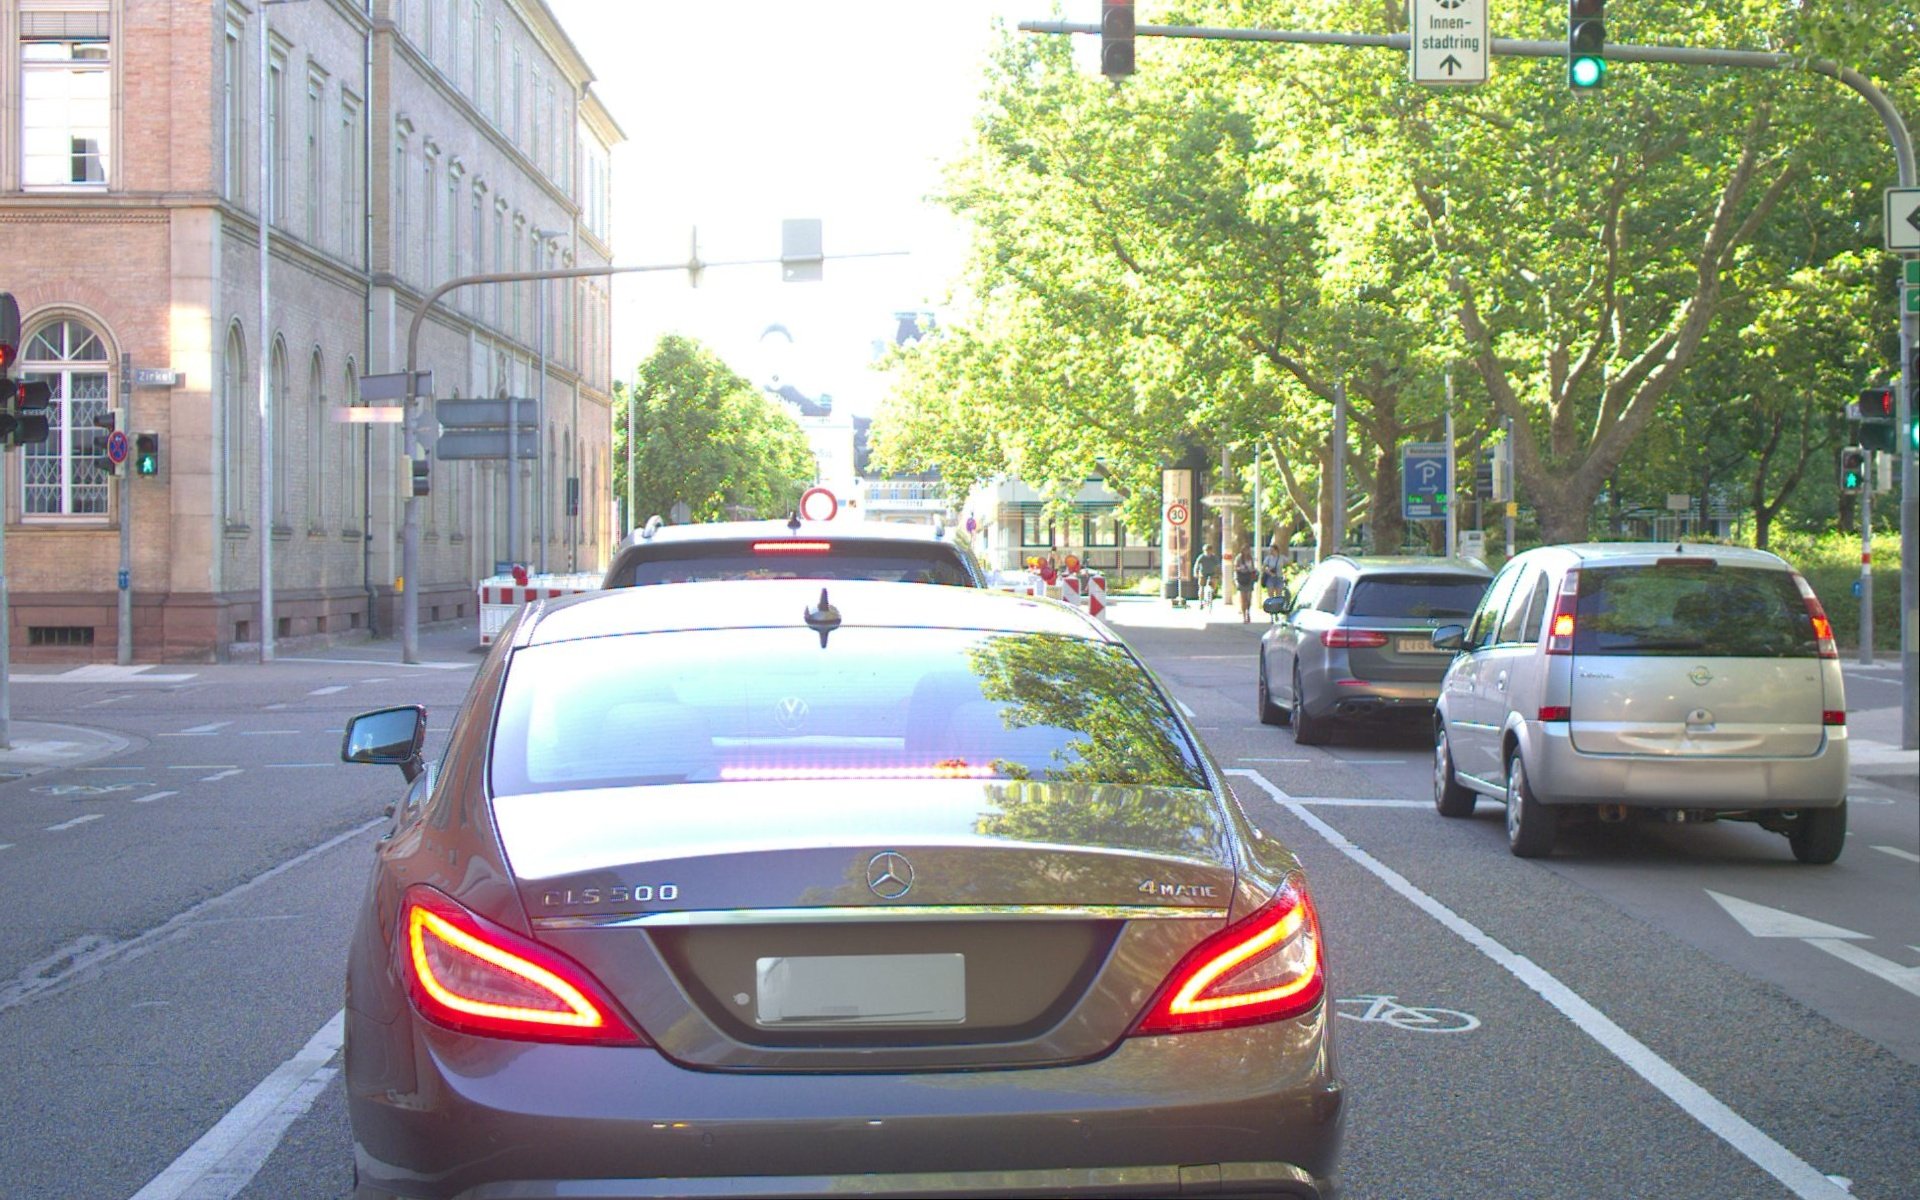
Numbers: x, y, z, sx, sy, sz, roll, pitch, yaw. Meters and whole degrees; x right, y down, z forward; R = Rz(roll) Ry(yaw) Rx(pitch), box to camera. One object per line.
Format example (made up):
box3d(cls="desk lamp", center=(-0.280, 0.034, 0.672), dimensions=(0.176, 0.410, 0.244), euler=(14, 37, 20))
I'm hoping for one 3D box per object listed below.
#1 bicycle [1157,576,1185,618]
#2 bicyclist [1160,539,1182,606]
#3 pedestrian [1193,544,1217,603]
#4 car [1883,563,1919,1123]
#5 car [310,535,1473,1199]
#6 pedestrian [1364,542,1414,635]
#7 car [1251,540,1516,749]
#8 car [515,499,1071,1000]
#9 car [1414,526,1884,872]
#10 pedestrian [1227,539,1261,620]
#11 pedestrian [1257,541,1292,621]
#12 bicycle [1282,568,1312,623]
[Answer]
box3d(cls="bicycle", center=(6.436, -0.086, 105.007), dimensions=(0.591, 1.259, 1.806), euler=(1, 1, -5))
box3d(cls="bicyclist", center=(6.443, -0.848, 104.964), dimensions=(0.594, 2.032, 0.566), euler=(1, 0, -4))
box3d(cls="pedestrian", center=(6.215, -0.674, 87.214), dimensions=(0.555, 1.504, 0.346), euler=(1, 0, -4))
box3d(cls="car", center=(3.475, 0.694, 7.659), dimensions=(1.704, 1.514, 4.000), euler=(1, 1, -1))
box3d(cls="car", center=(-0.366, 0.626, 7.473), dimensions=(1.861, 1.514, 4.001), euler=(0, 1, -8))
box3d(cls="pedestrian", center=(7.217, -0.199, 57.855), dimensions=(0.635, 1.540, 0.910), euler=(1, 0, -4))
box3d(cls="car", center=(3.315, 0.313, 27.485), dimensions=(1.601, 1.543, 3.681), euler=(1, 1, -1))
box3d(cls="car", center=(-0.587, 0.471, 13.604), dimensions=(1.861, 1.677, 4.000), euler=(1, 1, -1))
box3d(cls="car", center=(3.587, 0.461, 18.530), dimensions=(1.731, 1.656, 3.681), euler=(1, 1, -1))
box3d(cls="pedestrian", center=(6.279, -0.454, 76.069), dimensions=(0.635, 1.791, 0.699), euler=(1, 0, -4))
box3d(cls="pedestrian", center=(6.951, -0.420, 76.023), dimensions=(0.635, 1.754, 0.699), euler=(1, 0, -4))
box3d(cls="bicycle", center=(7.435, -0.104, 75.905), dimensions=(0.482, 1.198, 1.606), euler=(1, 0, -1))
